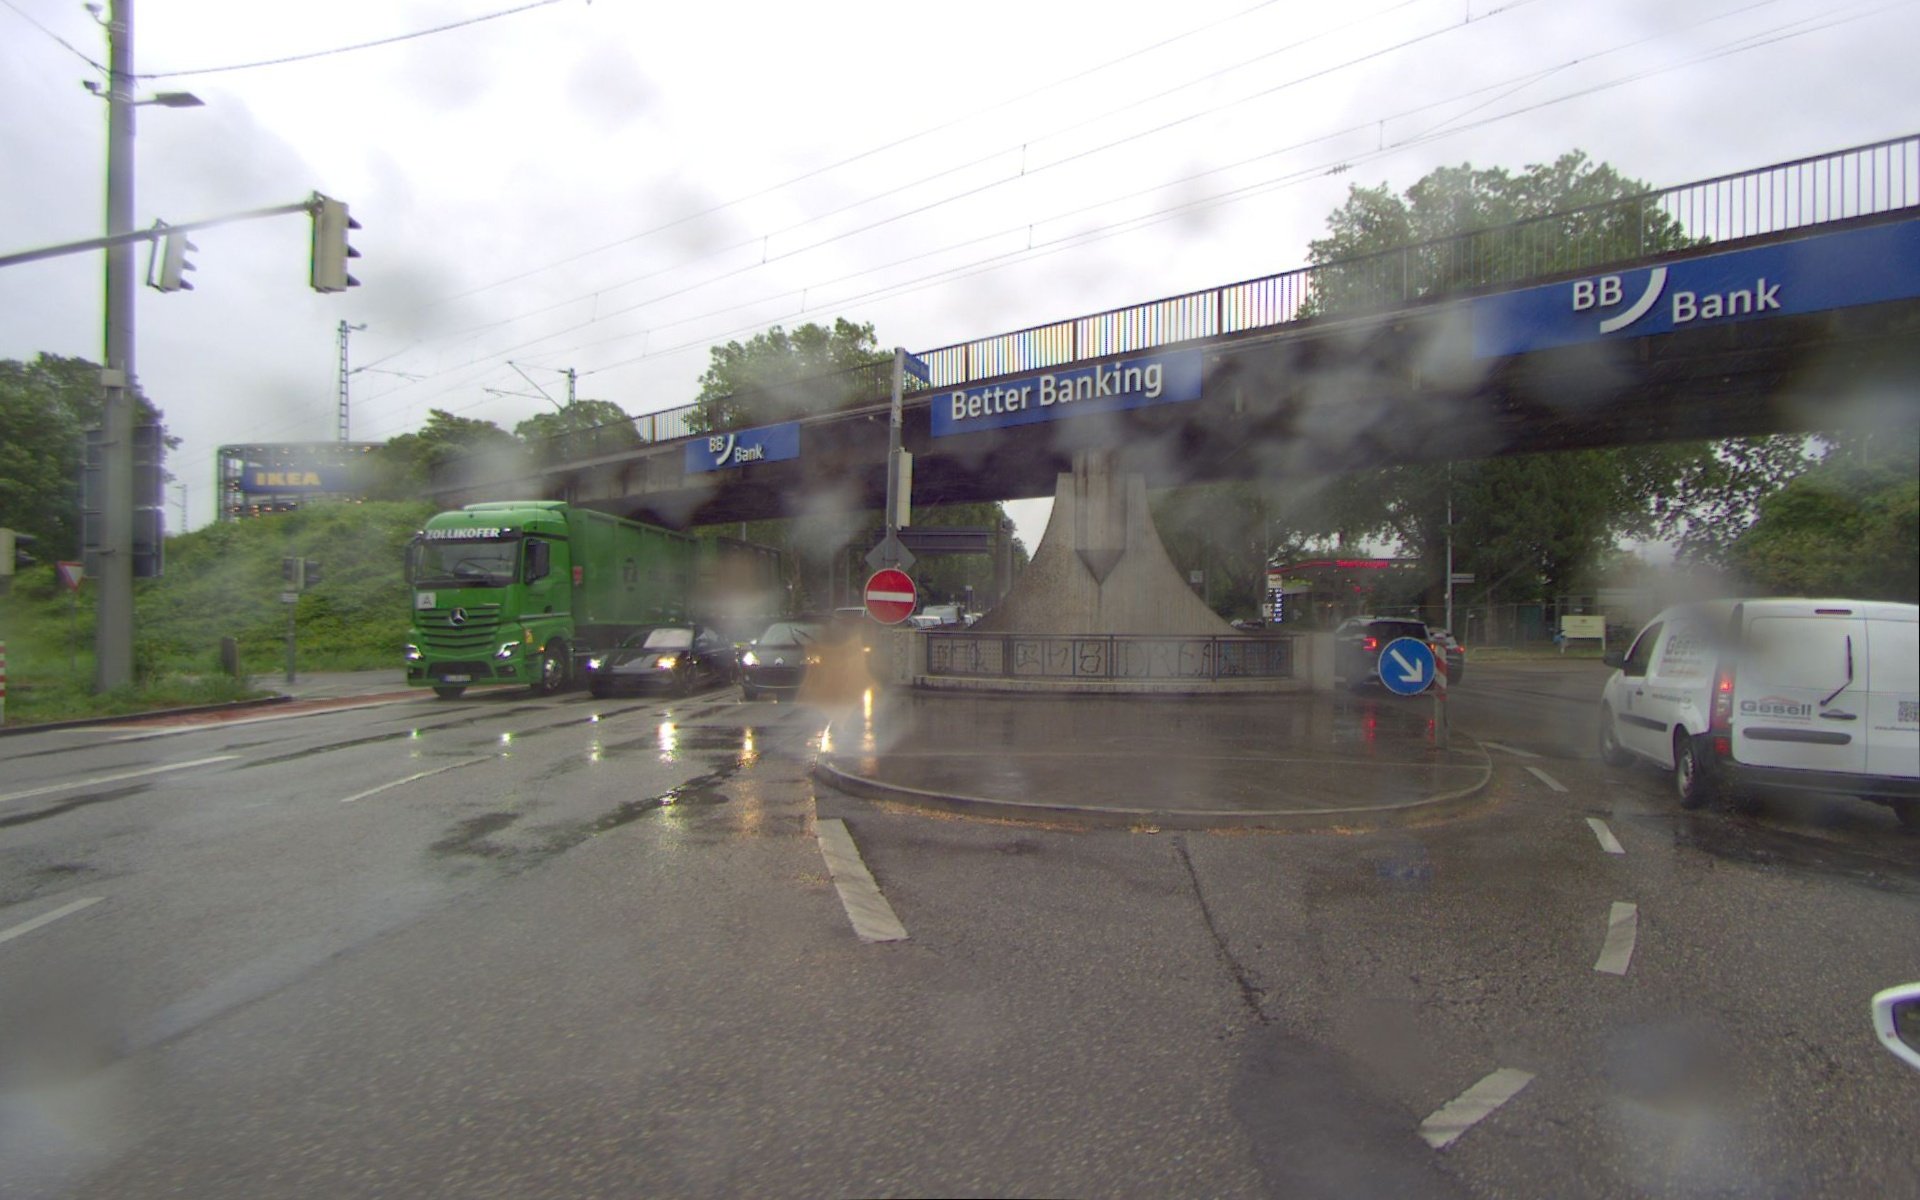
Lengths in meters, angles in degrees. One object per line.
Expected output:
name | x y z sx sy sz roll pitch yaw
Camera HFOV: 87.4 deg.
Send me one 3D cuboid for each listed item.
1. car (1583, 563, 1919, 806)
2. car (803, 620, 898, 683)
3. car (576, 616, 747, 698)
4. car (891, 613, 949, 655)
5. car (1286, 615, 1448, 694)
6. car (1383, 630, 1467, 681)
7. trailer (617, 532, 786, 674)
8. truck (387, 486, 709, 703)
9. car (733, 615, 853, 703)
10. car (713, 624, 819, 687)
car | 7.358 0.715 9.528 1.727 1.801 4.000 -1 -3 21
car | -2.690 1.245 25.562 1.784 1.472 4.002 0 -1 3
car | -6.076 1.109 21.077 1.711 1.505 4.688 0 -1 7
car | -1.554 1.319 40.169 1.960 1.595 4.002 0 -1 3
car | 9.074 1.157 22.789 1.886 1.630 3.998 0 -1 -3
car | 12.939 1.508 28.091 1.652 1.300 3.259 0 -1 16
trailer | -8.133 0.118 33.005 2.635 4.040 8.525 0 -1 5
truck | -8.917 -0.018 23.693 2.633 4.001 10.200 0 -1 5
car | -3.201 1.093 20.006 1.627 1.566 4.001 0 -1 1
car | -5.343 1.489 28.149 1.960 1.595 4.002 0 -1 3
